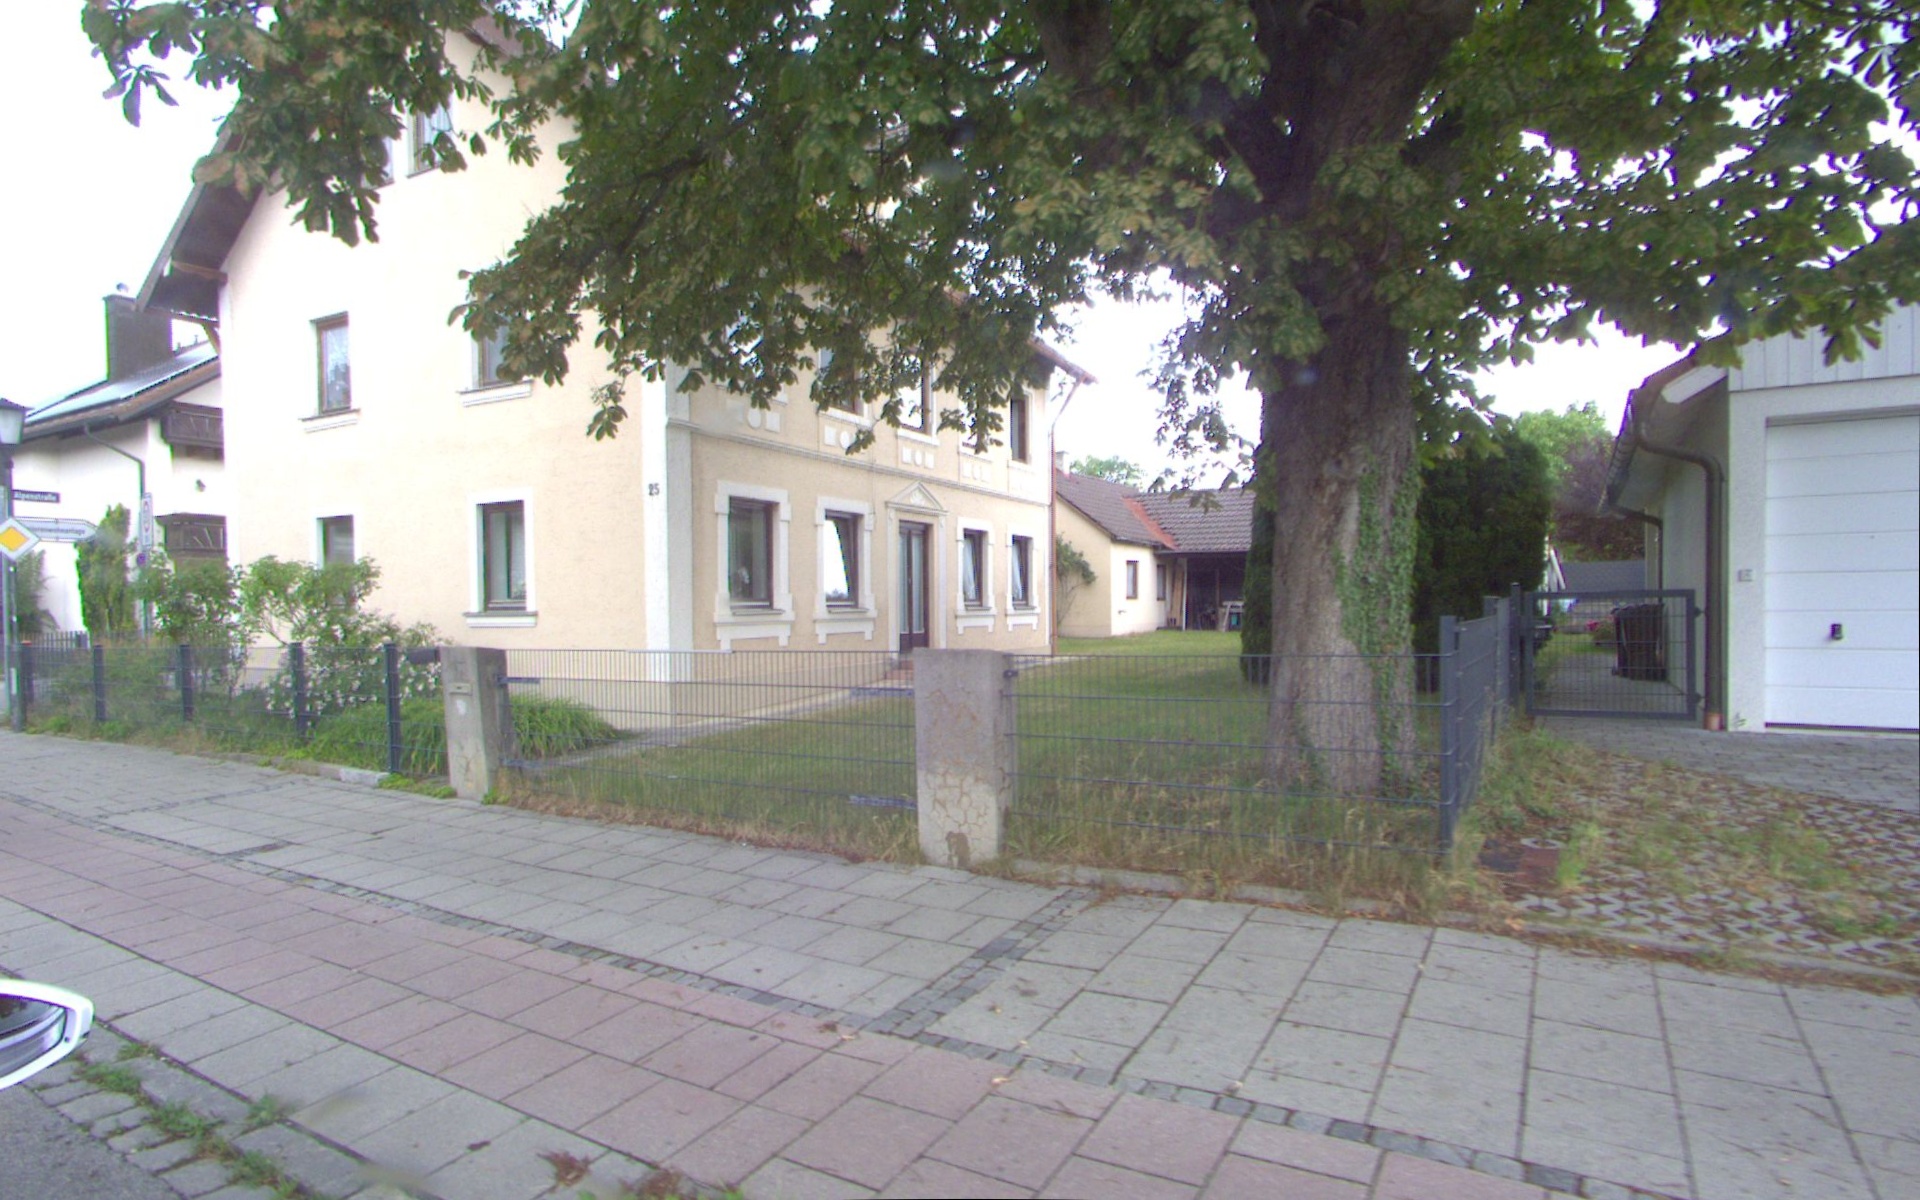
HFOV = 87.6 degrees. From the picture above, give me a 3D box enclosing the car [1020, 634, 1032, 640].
[{"bbox_3d":[14.700,8.150,222.095,1.556,1.363,3.753,0,-1,22],"label":"car"}]
